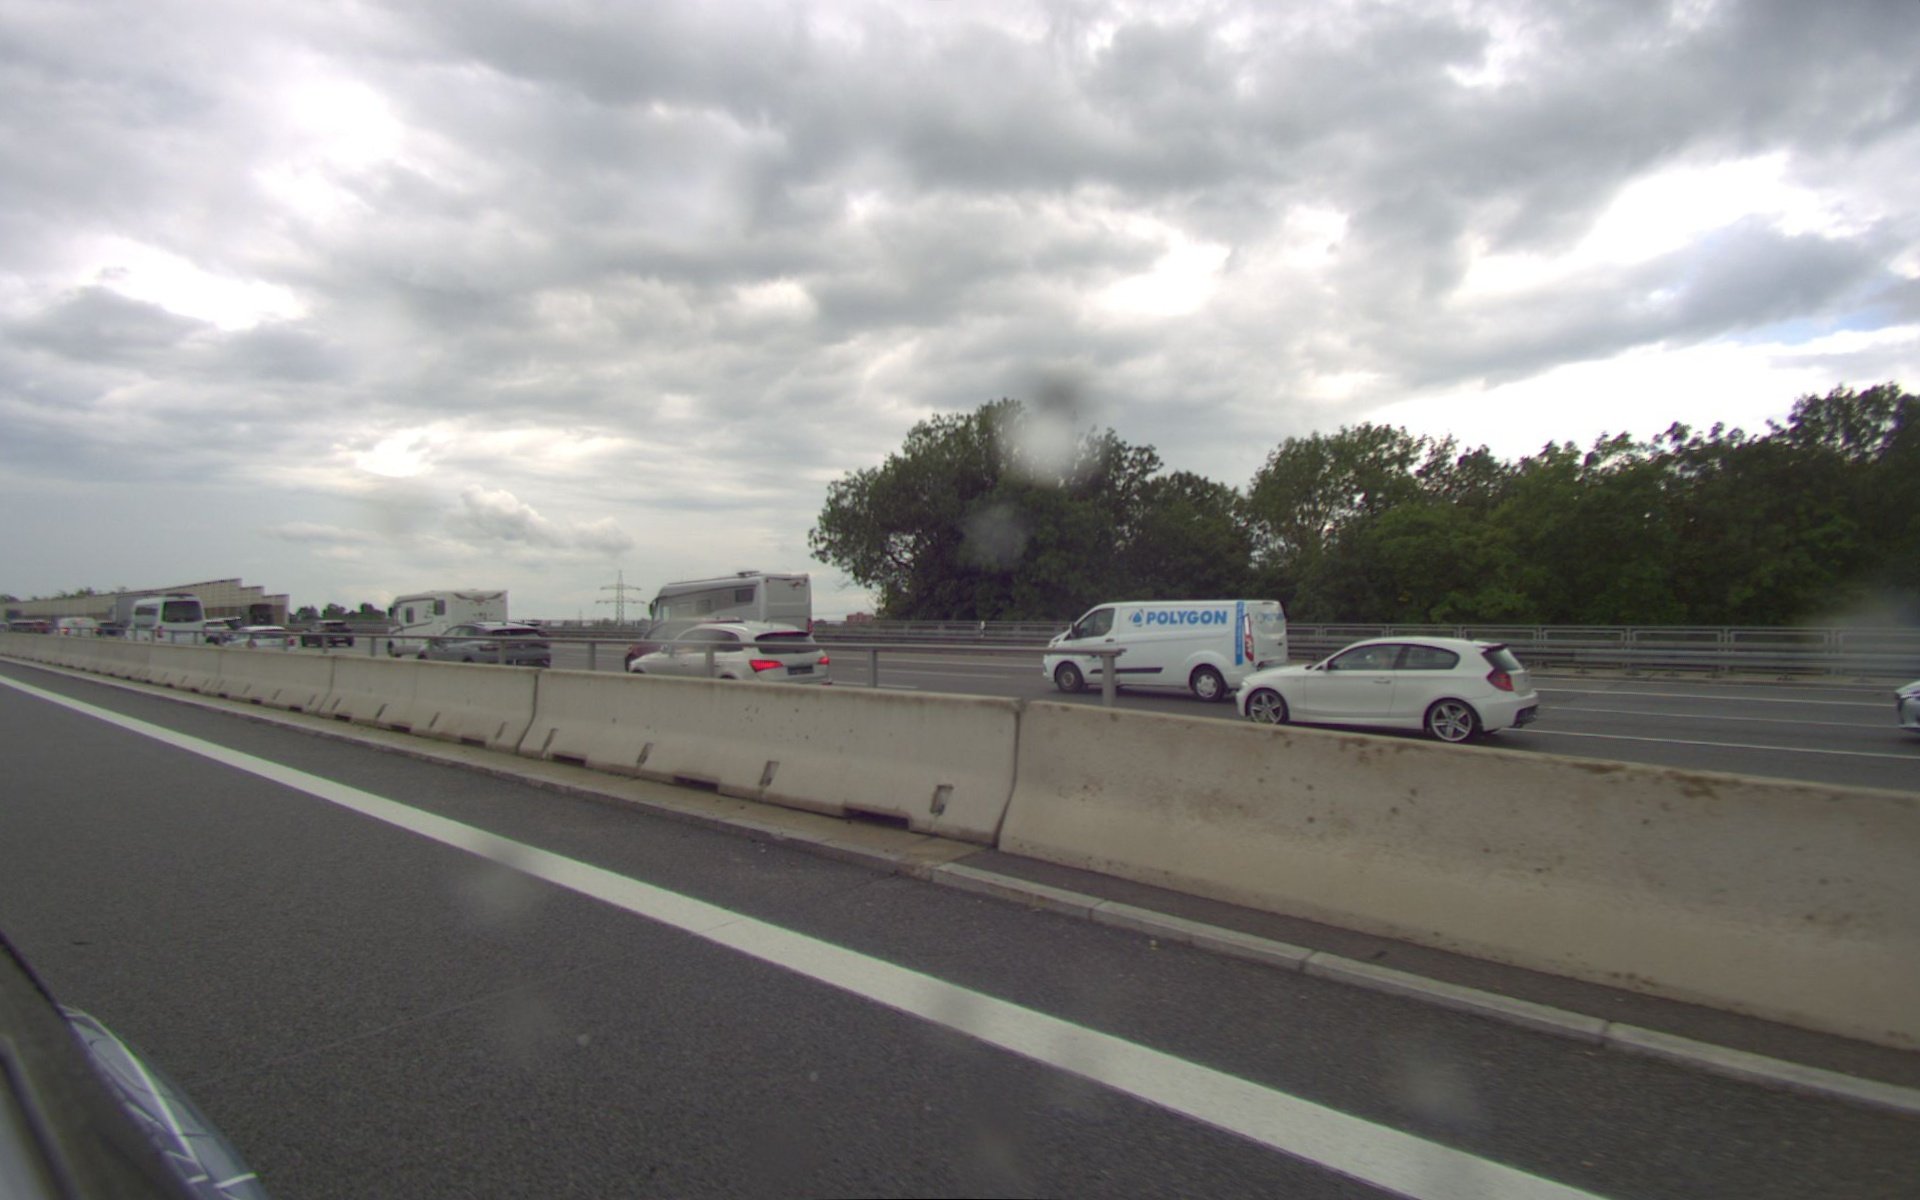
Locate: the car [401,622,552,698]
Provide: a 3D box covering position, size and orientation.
[{"bbox_3d":[-12.296,1.423,25.568,5.062,1.658,1.704,-1,1,43],"label":"car"}]

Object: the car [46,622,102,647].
[{"bbox_3d":[-57.835,2.198,66.011,5.467,1.546,2.039,-1,-1,41],"label":"car"}]

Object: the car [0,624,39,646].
[{"bbox_3d":[-75.602,2.791,81.116,5.377,1.658,2.039,-1,-1,41],"label":"car"}]

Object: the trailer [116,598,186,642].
[{"bbox_3d":[-80.364,2.053,100.381,14.443,4.062,2.901,-2,-1,41],"label":"trailer"}]

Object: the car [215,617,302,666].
[{"bbox_3d":[-26.168,1.486,37.683,4.519,1.658,1.704,-1,1,43],"label":"car"}]

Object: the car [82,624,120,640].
[{"bbox_3d":[-83.150,3.072,97.948,5.467,1.546,2.039,-1,-1,41],"label":"car"}]

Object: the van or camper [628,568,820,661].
[{"bbox_3d":[-9.040,0.504,38.023,8.473,3.146,2.597,-1,1,42],"label":"van or camper"}]

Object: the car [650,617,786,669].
[{"bbox_3d":[-7.776,1.315,32.199,5.018,1.467,1.704,-1,1,43],"label":"car"}]

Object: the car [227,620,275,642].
[{"bbox_3d":[-55.369,2.385,79.049,4.516,1.658,2.039,-1,-1,41],"label":"car"}]

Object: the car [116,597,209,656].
[{"bbox_3d":[-40.903,1.418,51.783,9.160,2.770,2.207,-3,-2,42],"label":"car"}]

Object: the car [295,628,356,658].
[{"bbox_3d":[-35.112,2.340,55.972,4.519,1.475,1.704,-1,1,43],"label":"car"}]

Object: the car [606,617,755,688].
[{"bbox_3d":[-7.520,1.325,26.971,4.519,1.658,1.704,-1,1,43],"label":"car"}]

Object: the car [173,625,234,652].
[{"bbox_3d":[-45.475,2.282,60.790,4.516,1.546,2.039,-1,-1,41],"label":"car"}]

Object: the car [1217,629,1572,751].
[{"bbox_3d":[6.261,1.193,14.960,4.519,1.426,1.704,-1,1,43],"label":"car"}]

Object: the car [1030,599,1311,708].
[{"bbox_3d":[4.175,0.990,20.862,5.545,1.950,1.670,-1,1,41],"label":"car"}]

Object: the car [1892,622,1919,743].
[{"bbox_3d":[14.242,1.059,12.473,3.958,1.489,1.705,-1,1,41],"label":"car"}]

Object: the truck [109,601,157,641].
[{"bbox_3d":[-86.125,2.211,105.370,5.722,4.065,2.941,-2,-1,41],"label":"truck"}]

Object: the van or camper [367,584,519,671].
[{"bbox_3d":[-19.667,0.956,38.301,7.356,2.973,2.597,-1,1,41],"label":"van or camper"}]

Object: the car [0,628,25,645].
[{"bbox_3d":[-86.346,3.282,91.504,5.467,1.546,2.039,-1,-1,41],"label":"car"}]

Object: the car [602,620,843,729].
[{"bbox_3d":[-4.442,1.224,18.372,5.062,1.658,1.704,-1,1,43],"label":"car"}]

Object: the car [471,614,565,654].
[{"bbox_3d":[-18.940,1.389,43.224,5.018,1.559,1.828,-1,1,43],"label":"car"}]
